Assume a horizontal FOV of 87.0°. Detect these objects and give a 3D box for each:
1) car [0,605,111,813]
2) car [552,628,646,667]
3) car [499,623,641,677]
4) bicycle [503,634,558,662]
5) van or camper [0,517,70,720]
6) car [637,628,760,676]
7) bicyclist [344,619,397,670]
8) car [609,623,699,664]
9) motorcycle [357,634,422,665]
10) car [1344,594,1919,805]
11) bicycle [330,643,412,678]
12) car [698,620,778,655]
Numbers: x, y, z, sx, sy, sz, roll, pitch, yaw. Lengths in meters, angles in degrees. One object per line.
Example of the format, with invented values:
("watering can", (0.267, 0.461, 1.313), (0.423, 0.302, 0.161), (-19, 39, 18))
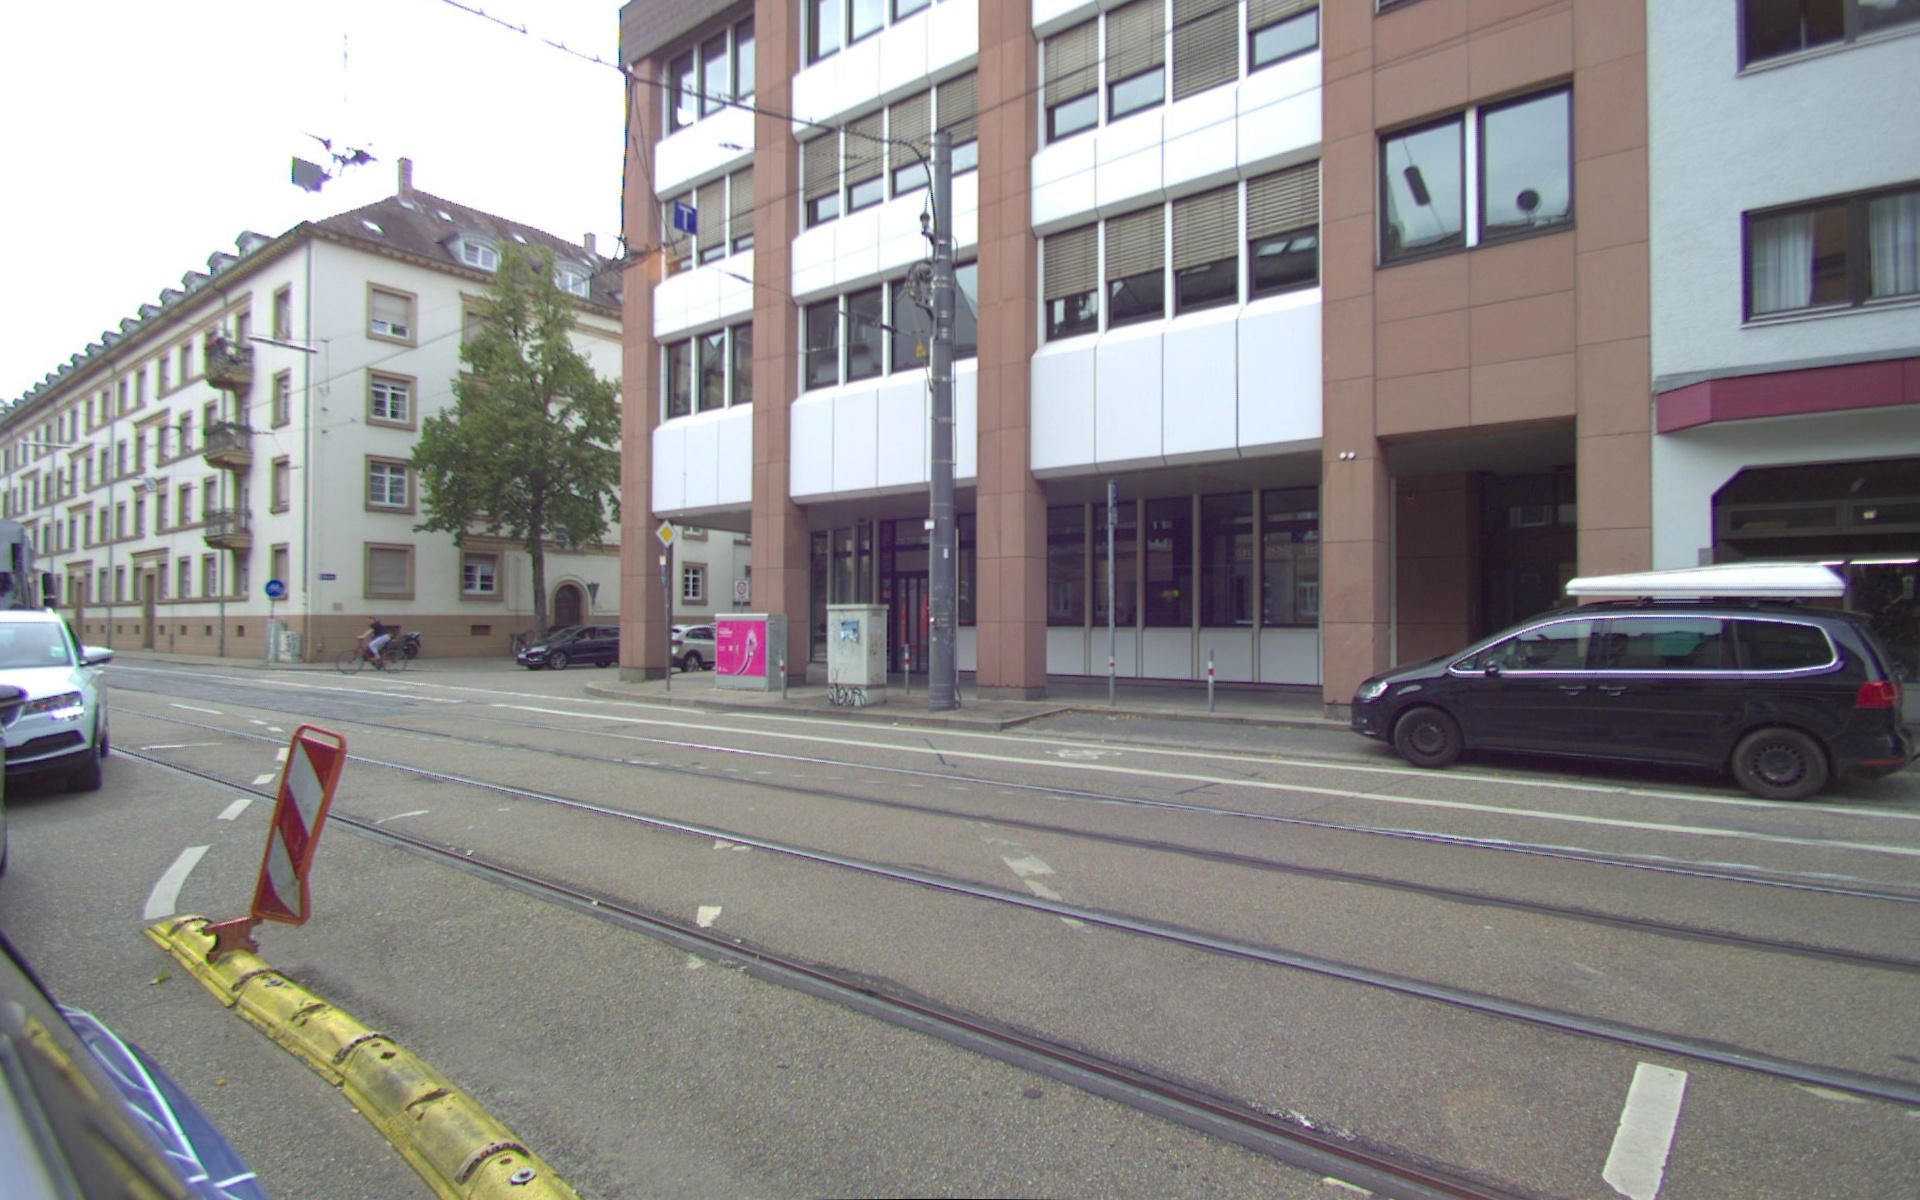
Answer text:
("car", (-9.103, 0.897, 9.251), (1.748, 1.603, 4.285), (-1, -1, -44))
("car", (-13.800, 1.778, 38.621), (3.869, 1.407, 1.591), (-1, -2, 38))
("car", (-12.715, 1.586, 33.096), (3.985, 1.549, 1.777), (-1, -1, -40))
("bicycle", (-17.553, 1.944, 41.382), (0.792, 1.094, 1.900), (-2, -2, 39))
("van or camper", (-20.326, 0.405, 19.980), (9.642, 3.447, 2.575), (-2, -2, 39))
("car", (-7.942, 1.547, 31.028), (1.606, 1.399, 3.611), (-1, -2, 31))
("bicyclist", (-17.182, 1.288, 29.503), (1.239, 1.473, 0.679), (1, -3, -38))
("car", (-12.251, 1.714, 40.418), (3.711, 1.559, 1.591), (-1, -2, 38))
("motorcycle", (-20.887, 1.806, 37.069), (0.792, 1.094, 1.900), (-2, -2, 39))
("car", (6.565, 0.841, 10.218), (4.694, 1.659, 1.789), (-2, 0, 40))
("bicycle", (-17.155, 1.756, 29.512), (1.980, 0.972, 0.674), (1, -3, -38))
("car", (-9.845, 1.658, 44.768), (3.520, 1.473, 1.572), (-1, -2, 38))
